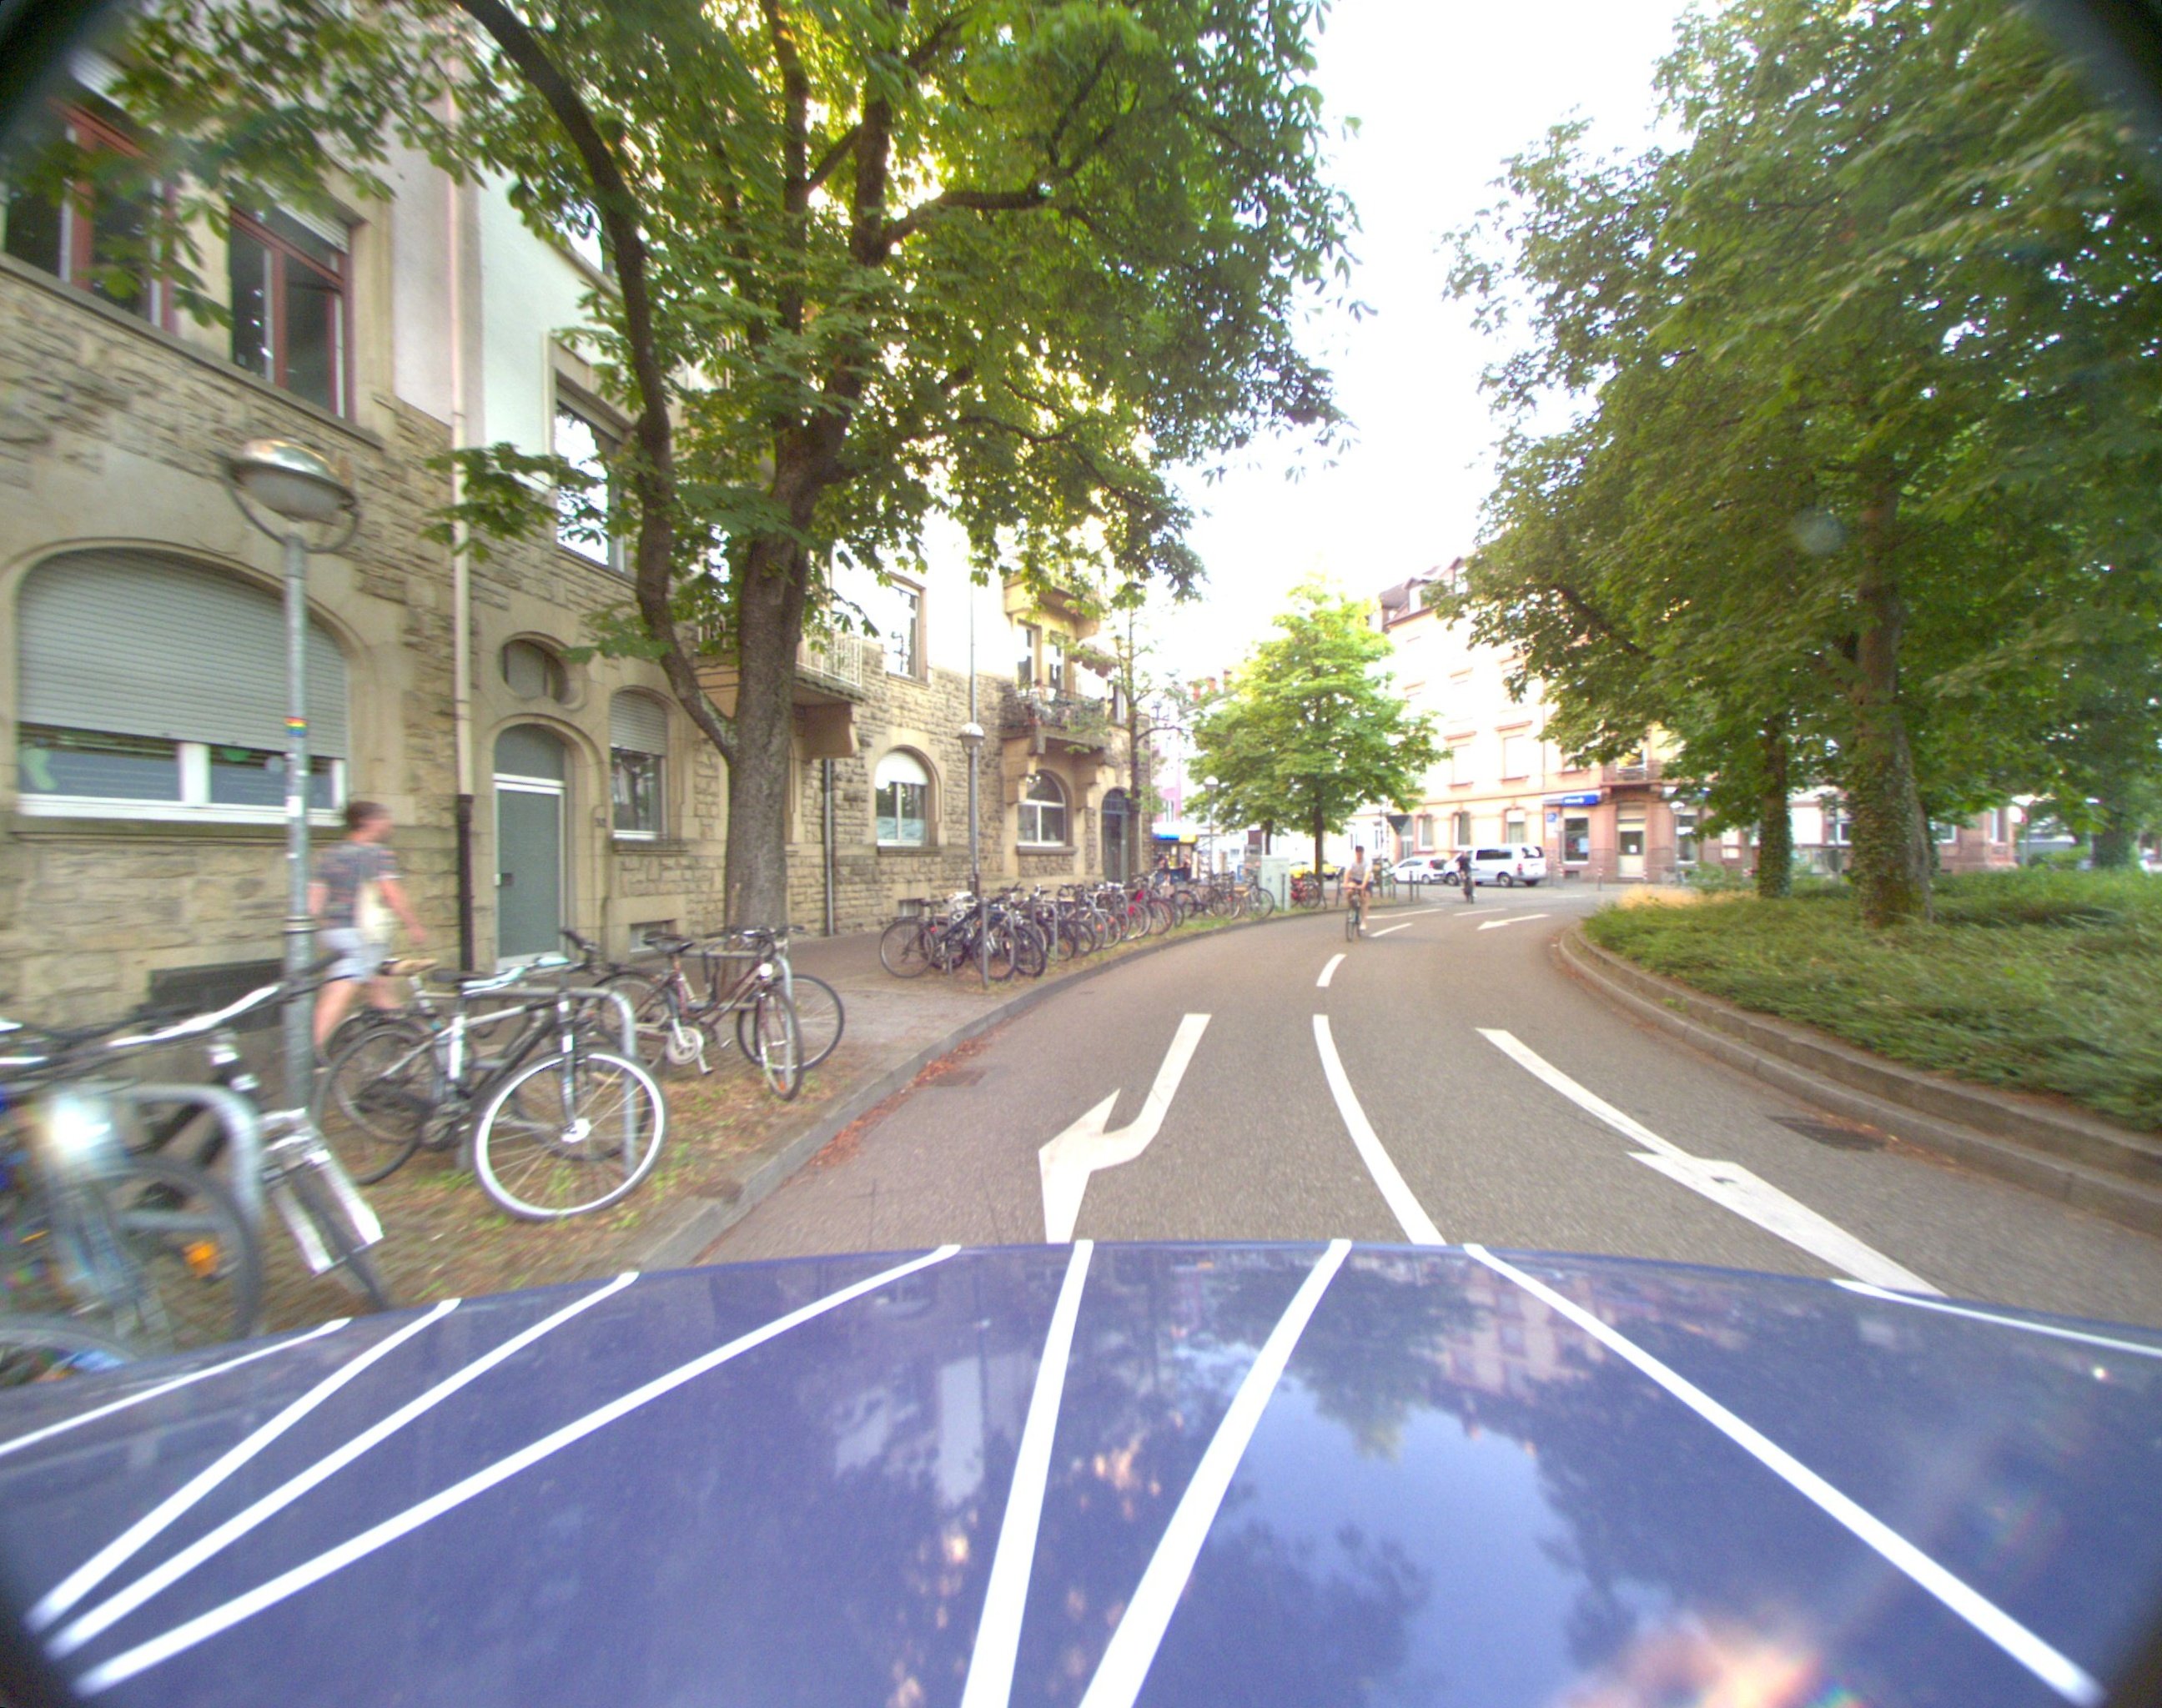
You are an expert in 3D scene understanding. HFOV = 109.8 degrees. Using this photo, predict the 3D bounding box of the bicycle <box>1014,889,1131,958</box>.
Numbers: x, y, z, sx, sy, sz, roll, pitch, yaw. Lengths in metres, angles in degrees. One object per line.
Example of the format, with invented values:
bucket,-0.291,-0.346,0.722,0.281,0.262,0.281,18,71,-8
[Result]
bicycle,-0.155,1.138,12.793,1.916,1.055,0.536,0,1,25

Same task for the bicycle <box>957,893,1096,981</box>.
bicycle,-0.786,1.168,10.905,1.851,1.126,0.418,0,20,24

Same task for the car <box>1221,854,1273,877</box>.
car,12.216,0.814,56.128,1.807,1.583,4.138,-3,1,-20

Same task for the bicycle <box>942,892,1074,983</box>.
bicycle,-1.025,1.128,10.568,1.851,1.138,0.419,0,1,24

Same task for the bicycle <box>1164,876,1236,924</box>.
bicycle,2.775,1.060,17.788,1.603,1.069,0.420,0,1,31

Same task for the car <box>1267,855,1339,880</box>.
car,14.556,0.874,50.129,1.847,1.517,4.792,-3,1,-24

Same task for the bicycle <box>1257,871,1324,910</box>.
bicycle,5.972,1.023,21.754,0.433,1.033,1.894,-1,1,-42

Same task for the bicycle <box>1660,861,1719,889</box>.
bicycle,24.735,0.842,30.918,0.561,1.076,1.793,-2,1,-34

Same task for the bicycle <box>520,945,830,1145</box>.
bicycle,-2.454,1.128,4.654,1.673,1.072,0.486,0,1,6

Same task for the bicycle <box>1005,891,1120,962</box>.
bicycle,-0.308,1.147,12.329,1.851,1.045,0.419,0,1,24

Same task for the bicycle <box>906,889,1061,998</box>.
bicycle,-1.240,1.090,9.576,1.880,1.211,0.492,0,7,24

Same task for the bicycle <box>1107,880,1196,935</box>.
bicycle,1.442,1.079,15.679,1.792,1.057,0.448,0,1,28

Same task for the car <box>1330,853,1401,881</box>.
car,16.721,0.751,44.824,1.736,1.483,3.735,-2,1,-25

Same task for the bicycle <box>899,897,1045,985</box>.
bicycle,-1.430,1.147,10.175,1.854,1.098,0.574,0,1,1

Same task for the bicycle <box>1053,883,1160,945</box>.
bicycle,0.466,1.087,14.072,1.916,1.058,0.553,0,1,25

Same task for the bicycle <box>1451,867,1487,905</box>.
bicycle,12.386,0.990,24.322,0.685,1.144,2.118,-1,0,18

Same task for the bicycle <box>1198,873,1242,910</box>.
bicycle,3.969,1.046,21.612,0.431,0.963,1.730,0,1,41

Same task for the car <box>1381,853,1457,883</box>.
car,18.371,0.735,41.421,1.691,1.483,3.607,-2,1,-22

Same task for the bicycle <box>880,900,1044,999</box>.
bicycle,-1.434,1.143,9.183,1.882,1.132,0.493,-2,-4,10

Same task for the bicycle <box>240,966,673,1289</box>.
bicycle,-2.703,1.088,3.316,1.672,1.120,0.487,0,-6,15

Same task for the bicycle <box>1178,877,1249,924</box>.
bicycle,3.133,1.082,18.015,1.603,1.057,0.420,0,1,31

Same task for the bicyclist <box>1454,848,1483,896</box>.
bicyclist,12.374,0.565,24.275,0.685,1.503,0.974,-1,0,18

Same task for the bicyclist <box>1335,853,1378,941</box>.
bicyclist,4.976,0.748,13.698,0.685,1.503,0.974,-1,0,22

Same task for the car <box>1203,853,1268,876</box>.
car,10.461,0.694,51.882,2.002,1.508,4.832,0,0,-22

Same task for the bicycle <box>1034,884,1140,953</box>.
bicycle,0.089,1.093,13.279,1.850,1.110,0.420,0,1,28

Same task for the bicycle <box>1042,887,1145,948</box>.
bicycle,0.205,1.112,13.585,1.850,1.008,0.420,0,1,28

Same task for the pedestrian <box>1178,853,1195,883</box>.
pedestrian,5.375,0.693,38.830,0.589,1.530,0.680,0,1,38

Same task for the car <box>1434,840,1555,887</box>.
car,19.812,0.429,36.690,2.049,2.045,4.996,-2,1,-21

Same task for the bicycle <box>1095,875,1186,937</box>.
bicycle,1.188,1.024,15.353,1.792,1.161,0.448,0,1,28

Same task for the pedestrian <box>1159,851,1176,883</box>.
pedestrian,4.418,0.647,38.706,0.589,1.627,0.680,0,1,38

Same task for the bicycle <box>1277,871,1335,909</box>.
bicycle,6.430,1.010,21.806,0.433,1.033,1.603,-1,1,-42

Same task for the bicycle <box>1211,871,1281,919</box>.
bicycle,4.109,0.998,18.975,1.603,1.141,0.556,0,1,36

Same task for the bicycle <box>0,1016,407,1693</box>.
bicycle,-2.935,1.081,1.962,1.889,1.156,0.705,0,1,7

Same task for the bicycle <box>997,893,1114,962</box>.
bicycle,-0.421,1.139,12.059,1.851,0.994,0.419,0,1,24

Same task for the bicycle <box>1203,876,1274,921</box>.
bicycle,3.855,1.072,18.612,1.603,1.014,0.556,0,1,36

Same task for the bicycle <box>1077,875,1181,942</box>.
bicycle,0.917,1.021,14.666,1.916,1.193,0.553,0,1,25

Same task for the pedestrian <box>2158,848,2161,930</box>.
pedestrian,19.203,0.599,13.061,0.619,1.423,0.654,-1,0,-20

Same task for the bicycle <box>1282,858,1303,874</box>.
bicycle,15.715,0.895,56.500,0.481,1.133,1.860,0,0,-20

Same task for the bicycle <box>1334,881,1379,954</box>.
bicycle,4.977,1.085,13.684,0.685,1.144,2.118,-1,0,21

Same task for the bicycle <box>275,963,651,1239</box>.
bicycle,-2.992,1.121,3.690,1.672,1.072,0.487,0,1,13

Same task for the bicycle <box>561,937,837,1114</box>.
bicycle,-2.580,1.132,5.186,1.673,1.072,0.486,0,1,6

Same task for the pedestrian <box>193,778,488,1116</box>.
pedestrian,-5.046,0.572,5.266,1.012,2.073,1.061,0,0,10

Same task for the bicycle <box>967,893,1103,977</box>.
bicycle,-0.684,1.170,11.163,1.851,1.088,0.418,0,20,24
